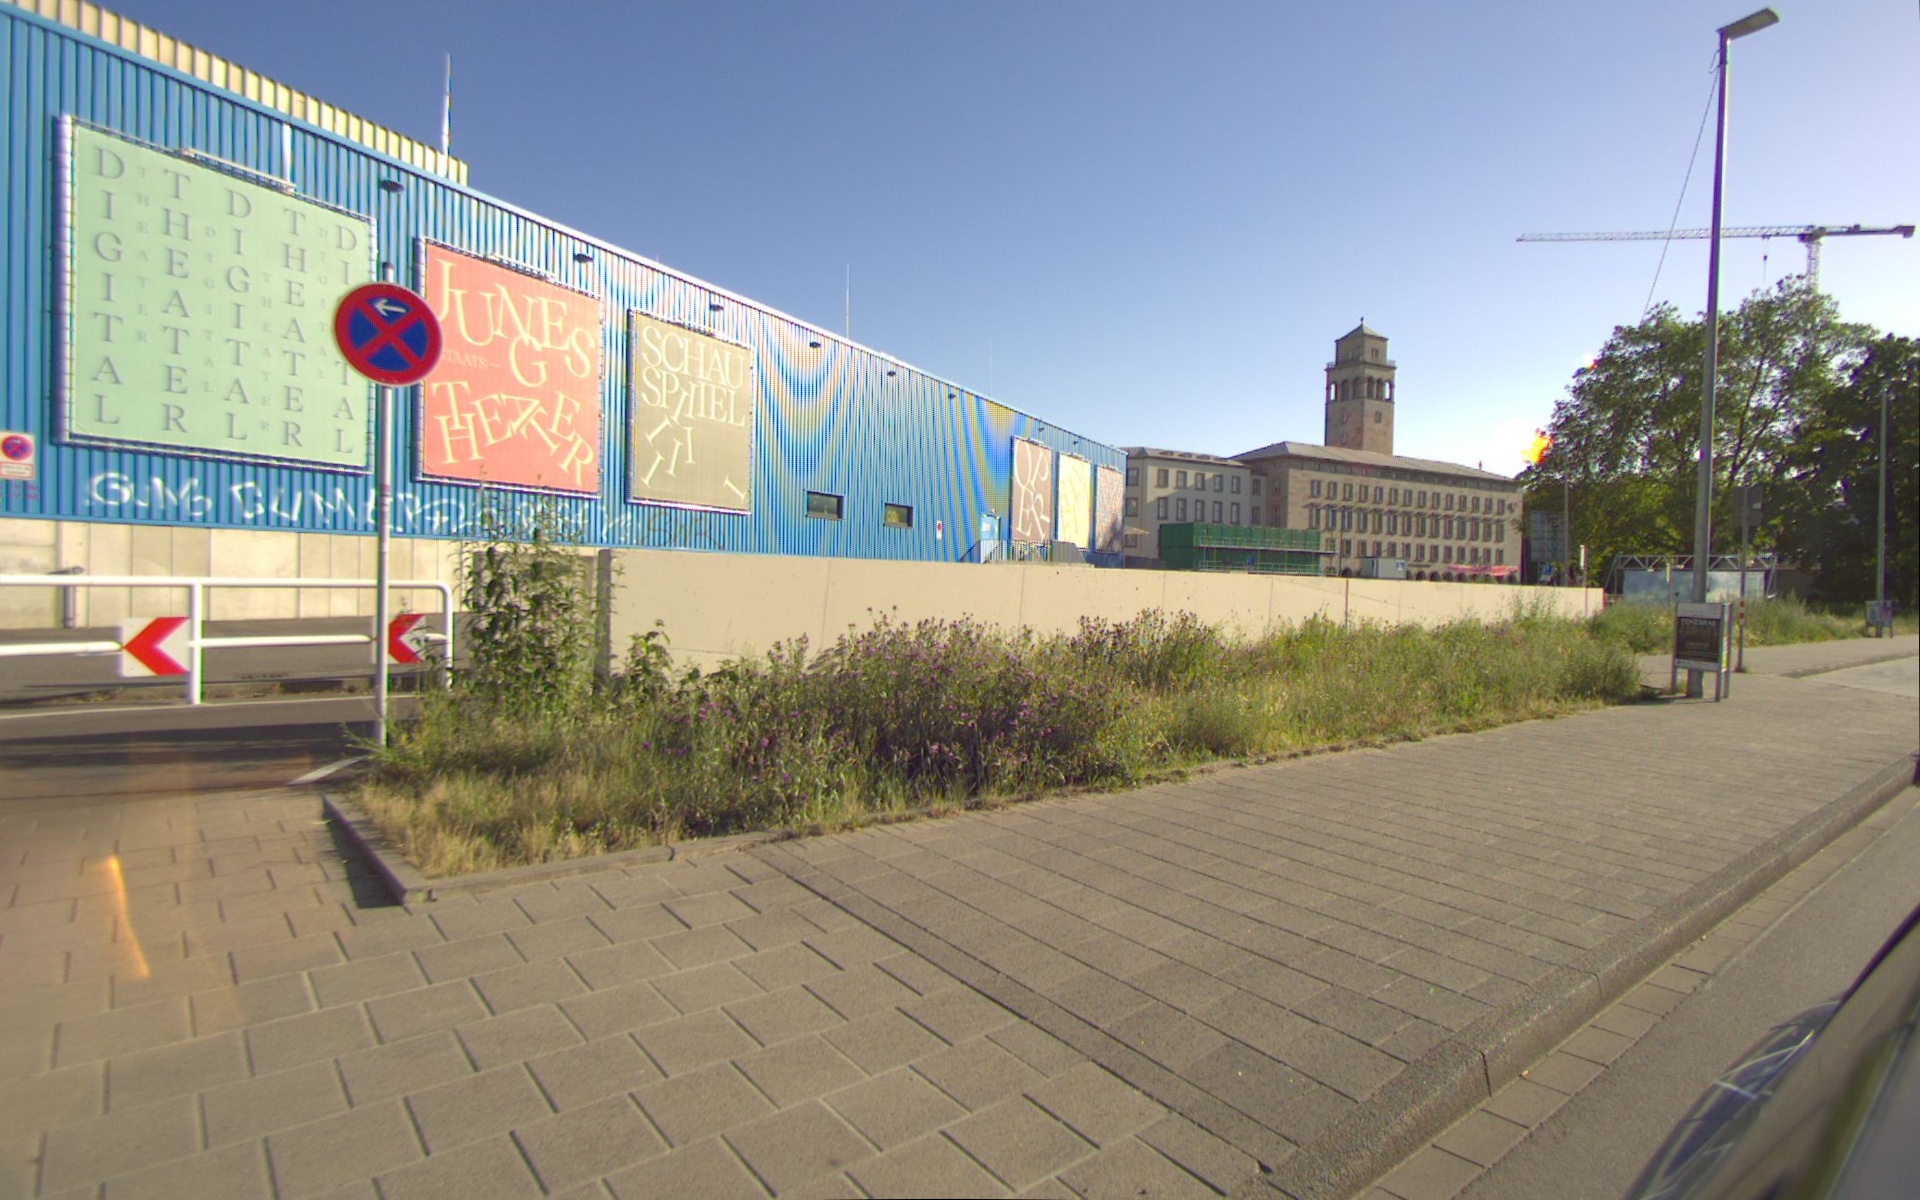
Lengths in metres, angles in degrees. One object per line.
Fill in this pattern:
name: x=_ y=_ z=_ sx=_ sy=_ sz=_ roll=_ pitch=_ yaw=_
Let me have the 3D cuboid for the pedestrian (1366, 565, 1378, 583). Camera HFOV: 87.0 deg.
pedestrian: x=29.668 y=-1.864 z=72.896 sx=0.432 sy=1.312 sz=0.574 roll=-2 pitch=0 yaw=-24
